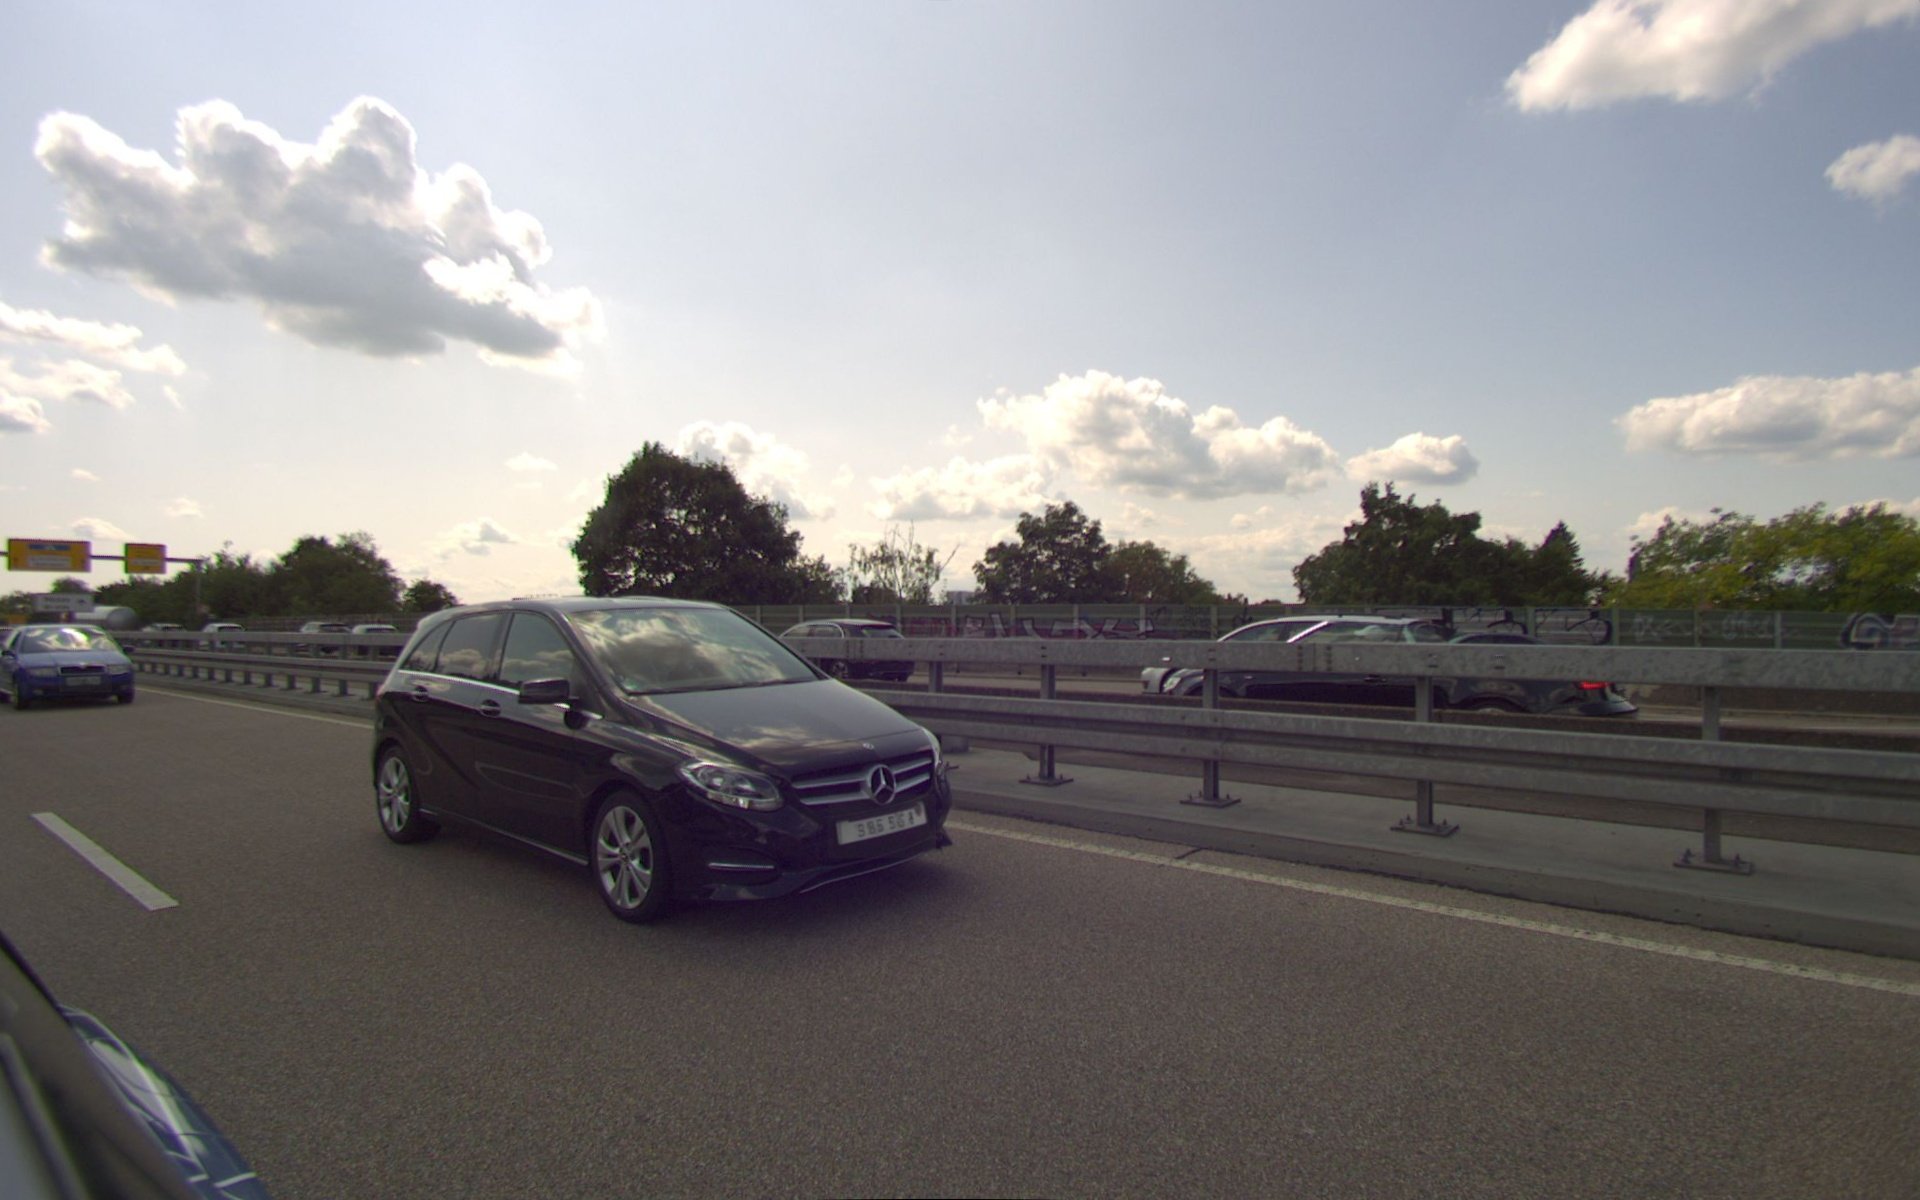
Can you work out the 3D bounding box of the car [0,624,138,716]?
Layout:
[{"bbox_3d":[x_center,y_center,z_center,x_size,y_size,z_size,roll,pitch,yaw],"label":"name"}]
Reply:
[{"bbox_3d":[-16.339,1.185,18.331,3.769,1.422,1.605,-1,0,41],"label":"car"}]

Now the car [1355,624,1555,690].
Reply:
[{"bbox_3d":[11.450,1.316,23.712,3.967,1.397,1.638,-1,0,18],"label":"car"}]

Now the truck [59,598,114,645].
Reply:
[{"bbox_3d":[-75.077,1.844,86.974,6.228,3.810,2.621,-1,0,40],"label":"truck"}]

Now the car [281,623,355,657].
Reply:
[{"bbox_3d":[-32.331,2.006,50.924,4.278,1.586,1.905,-2,-1,39],"label":"car"}]

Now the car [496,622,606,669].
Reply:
[{"bbox_3d":[-14.961,1.619,36.932,4.278,1.586,1.905,-2,-1,39],"label":"car"}]

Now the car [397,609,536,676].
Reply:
[{"bbox_3d":[-16.161,1.376,33.018,5.184,1.939,1.941,-2,0,38],"label":"car"}]

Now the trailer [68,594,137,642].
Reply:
[{"bbox_3d":[-70.400,1.474,82.948,11.023,3.697,2.657,-1,0,41],"label":"trailer"}]

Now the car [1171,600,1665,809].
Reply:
[{"bbox_3d":[4.277,0.844,9.778,4.056,1.583,1.659,-1,0,39],"label":"car"}]

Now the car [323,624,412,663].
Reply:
[{"bbox_3d":[-25.415,1.828,43.376,4.240,1.586,1.905,-1,-2,39],"label":"car"}]

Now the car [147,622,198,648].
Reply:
[{"bbox_3d":[-50.411,2.216,64.743,4.278,1.632,1.697,-1,-3,40],"label":"car"}]

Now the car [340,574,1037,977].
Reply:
[{"bbox_3d":[-1.906,0.686,6.008,4.590,1.539,1.694,-1,0,41],"label":"car"}]

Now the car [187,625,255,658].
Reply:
[{"bbox_3d":[-38.413,2.109,52.585,3.883,1.586,1.905,-1,0,39],"label":"car"}]

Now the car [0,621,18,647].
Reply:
[{"bbox_3d":[-71.211,2.521,74.719,4.236,1.870,1.973,-1,0,41],"label":"car"}]

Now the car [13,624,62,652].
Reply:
[{"bbox_3d":[-57.637,2.372,63.204,3.736,1.635,1.710,-3,-1,39],"label":"car"}]

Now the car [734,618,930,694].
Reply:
[{"bbox_3d":[-2.762,1.153,21.405,4.042,1.400,1.767,-3,-1,39],"label":"car"}]

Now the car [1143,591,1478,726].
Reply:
[{"bbox_3d":[5.084,0.831,15.058,4.405,1.724,1.567,-3,-1,39],"label":"car"}]
